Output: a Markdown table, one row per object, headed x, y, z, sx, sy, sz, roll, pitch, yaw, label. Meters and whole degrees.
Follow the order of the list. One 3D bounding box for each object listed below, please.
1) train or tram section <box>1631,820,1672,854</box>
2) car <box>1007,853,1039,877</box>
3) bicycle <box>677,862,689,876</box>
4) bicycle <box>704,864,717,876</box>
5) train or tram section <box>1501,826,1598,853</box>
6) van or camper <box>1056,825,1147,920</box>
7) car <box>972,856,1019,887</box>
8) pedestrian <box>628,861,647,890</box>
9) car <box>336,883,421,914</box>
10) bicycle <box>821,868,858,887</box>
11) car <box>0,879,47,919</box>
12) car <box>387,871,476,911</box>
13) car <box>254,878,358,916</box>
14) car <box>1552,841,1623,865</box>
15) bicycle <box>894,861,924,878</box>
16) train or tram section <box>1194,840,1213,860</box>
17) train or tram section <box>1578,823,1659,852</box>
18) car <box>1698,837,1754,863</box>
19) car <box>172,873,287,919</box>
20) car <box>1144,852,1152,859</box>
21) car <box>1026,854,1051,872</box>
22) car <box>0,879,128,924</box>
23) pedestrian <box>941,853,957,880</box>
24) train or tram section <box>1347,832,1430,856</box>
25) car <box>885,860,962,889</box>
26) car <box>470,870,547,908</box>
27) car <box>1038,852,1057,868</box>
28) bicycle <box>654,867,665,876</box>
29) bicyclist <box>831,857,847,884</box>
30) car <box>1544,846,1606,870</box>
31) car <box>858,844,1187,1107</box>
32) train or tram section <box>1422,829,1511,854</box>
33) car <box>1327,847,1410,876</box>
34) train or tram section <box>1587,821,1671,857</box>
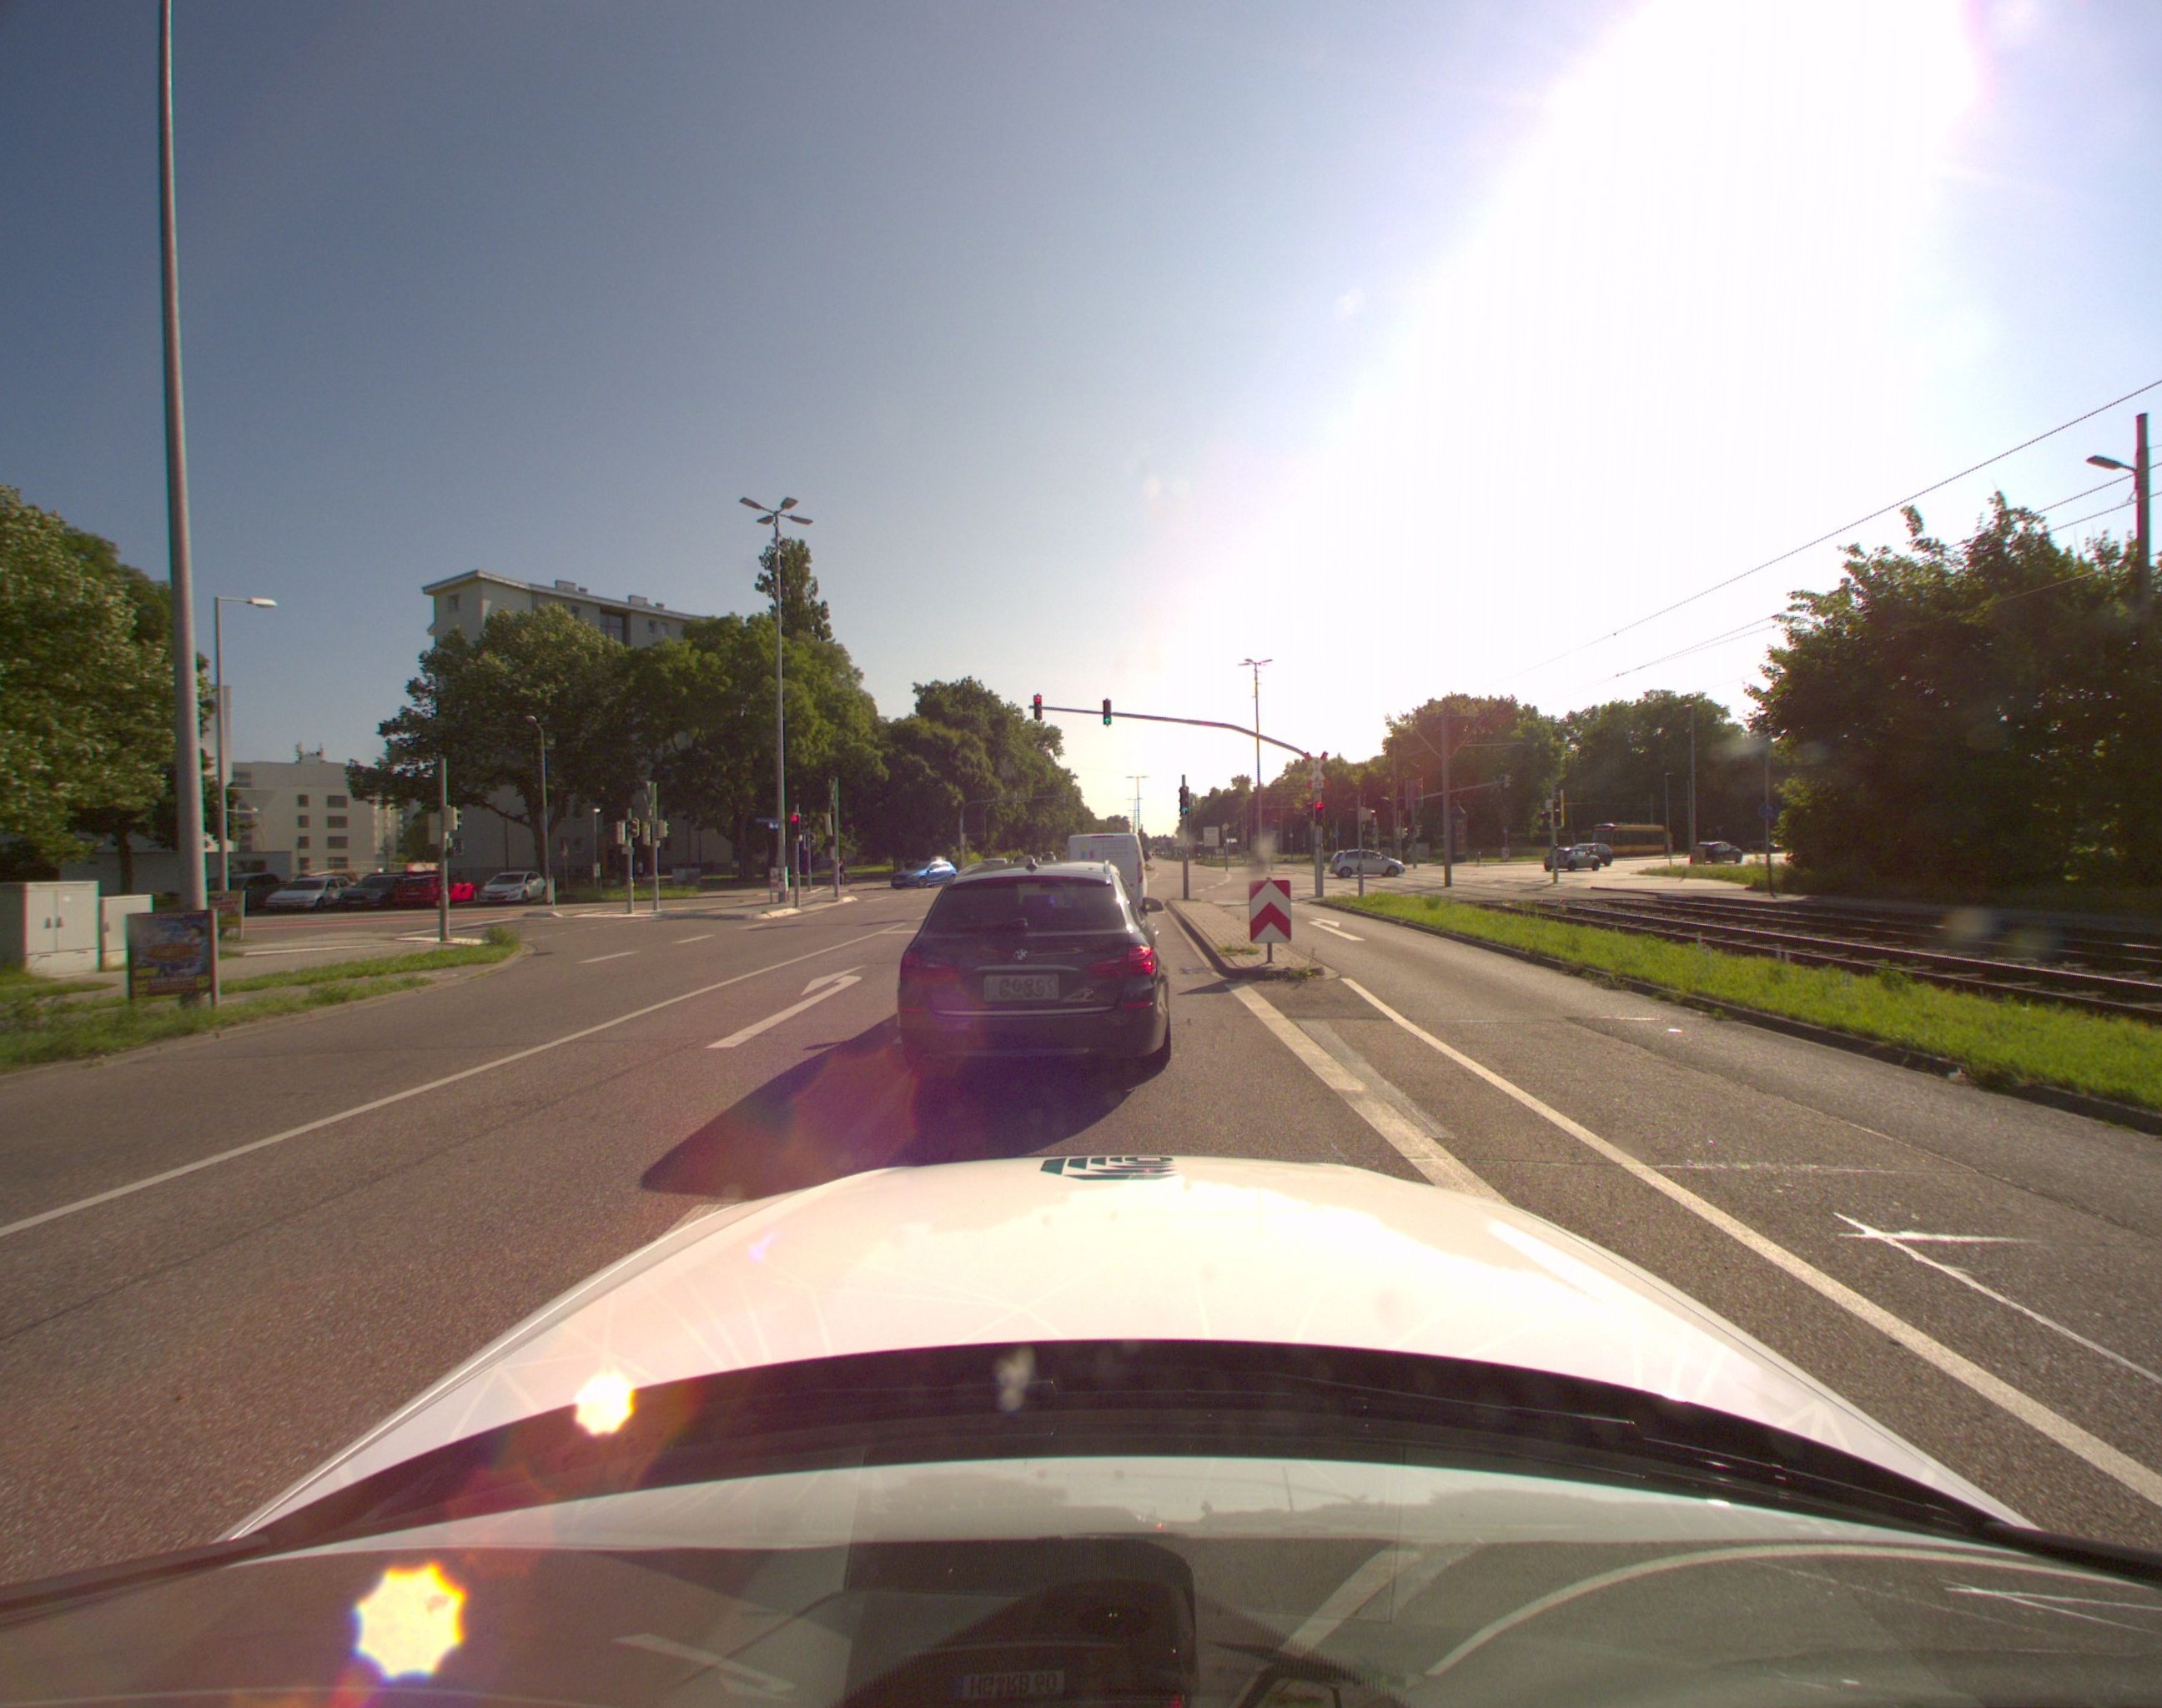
| x | y | z | sx | sy | sz | roll | pitch | yaw | label |
| --- | --- | --- | --- | --- | --- | --- | --- | --- | --- |
| 66.103 | -1.907 | 94.586 | 3.015 | 3.579 | 12.308 | -1 | 0 | 31 | train or tram section |
| -4.079 | 0.744 | 57.979 | 1.738 | 1.562 | 4.003 | -3 | 0 | 3 | car |
| -32.687 | 1.242 | 66.946 | 0.615 | 1.066 | 1.896 | 0 | -2 | -34 | bicycle |
| -31.031 | 1.316 | 68.245 | 0.673 | 0.919 | 2.382 | -1 | 0 | -33 | bicycle |
| 67.338 | -1.970 | 117.572 | 3.064 | 3.579 | 12.108 | -1 | 0 | -31 | train or tram section |
| 0.595 | 0.405 | 20.566 | 1.985 | 2.096 | 4.602 | -1 | 0 | 3 | van or camper |
| -4.436 | 0.881 | 42.798 | 1.695 | 1.465 | 4.374 | -3 | 0 | 3 | car |
| -26.956 | 1.307 | 49.516 | 0.619 | 1.713 | 0.707 | -1 | 1 | 14 | pedestrian |
| -32.777 | 2.042 | 38.103 | 1.463 | 1.193 | 3.767 | -1 | 0 | -15 | car |
| -13.963 | 1.350 | 47.176 | 0.613 | 1.040 | 2.085 | -1 | 0 | 35 | bicycle |
| -46.082 | 2.005 | 33.683 | 1.785 | 1.476 | 4.686 | -1 | 3 | -19 | car |
| -30.842 | 1.708 | 38.821 | 1.782 | 1.415 | 3.982 | -1 | 4 | -14 | car |
| -35.417 | 1.921 | 37.369 | 1.783 | 1.521 | 3.977 | -1 | 0 | -16 | car |
| 35.954 | -0.068 | 57.761 | 4.871 | 1.562 | 2.027 | -1 | 0 | -26 | car |
| -11.637 | 1.044 | 55.097 | 1.902 | 1.119 | 0.632 | -1 | 0 | 1 | bicycle |
| 22.842 | -0.616 | 152.433 | 2.782 | 3.618 | 12.976 | 0 | 0 | 6 | train or tram section |
| 69.661 | -2.057 | 106.065 | 3.031 | 3.579 | 12.241 | -1 | 0 | 3 | train or tram section |
| 47.281 | -0.308 | 59.709 | 4.637 | 1.722 | 1.633 | -2 | 2 | -30 | car |
| -38.063 | 1.815 | 36.535 | 1.783 | 1.811 | 3.977 | -1 | 0 | -16 | car |
| 14.993 | 0.380 | 182.300 | 1.785 | 1.486 | 3.904 | -1 | 0 | 4 | car |
| -3.702 | 0.728 | 70.939 | 1.882 | 1.474 | 4.099 | -2 | 0 | 0 | car |
| -44.369 | 1.999 | 35.236 | 1.785 | 1.477 | 4.785 | -1 | 3 | -19 | car |
| -8.900 | 0.834 | 55.004 | 0.811 | 1.752 | 0.933 | -1 | 0 | 7 | pedestrian |
| 50.393 | -1.664 | 133.855 | 12.279 | 3.579 | 3.073 | -1 | 0 | 33 | train or tram section |
| -8.443 | 1.093 | 44.042 | 1.763 | 1.414 | 4.270 | -1 | 0 | 28 | car |
| -27.909 | 1.679 | 39.834 | 1.783 | 1.439 | 3.980 | -1 | 3 | -15 | car |
| -3.494 | 0.625 | 85.900 | 1.783 | 1.520 | 4.000 | -2 | 0 | 0 | car |
| -34.311 | 1.422 | 66.252 | 0.587 | 0.708 | 2.215 | -1 | 0 | -33 | bicycle |
| -13.993 | 0.962 | 47.136 | 0.601 | 1.560 | 0.607 | -1 | 0 | 35 | bicyclist |
| 30.448 | 0.250 | 50.166 | 3.536 | 1.383 | 1.593 | -1 | 0 | -26 | car |
| -0.273 | 0.711 | 6.800 | 1.896 | 1.506 | 4.067 | -1 | 0 | 2 | car |
| 60.003 | -1.835 | 126.960 | 12.072 | 3.579 | 3.073 | -1 | 0 | 38 | train or tram section |
| 16.441 | 0.441 | 46.673 | 4.168 | 1.562 | 1.860 | -1 | 0 | 7 | car |
| 57.936 | -1.560 | 85.890 | 11.898 | 3.579 | 3.022 | -1 | 0 | -34 | train or tram section |
